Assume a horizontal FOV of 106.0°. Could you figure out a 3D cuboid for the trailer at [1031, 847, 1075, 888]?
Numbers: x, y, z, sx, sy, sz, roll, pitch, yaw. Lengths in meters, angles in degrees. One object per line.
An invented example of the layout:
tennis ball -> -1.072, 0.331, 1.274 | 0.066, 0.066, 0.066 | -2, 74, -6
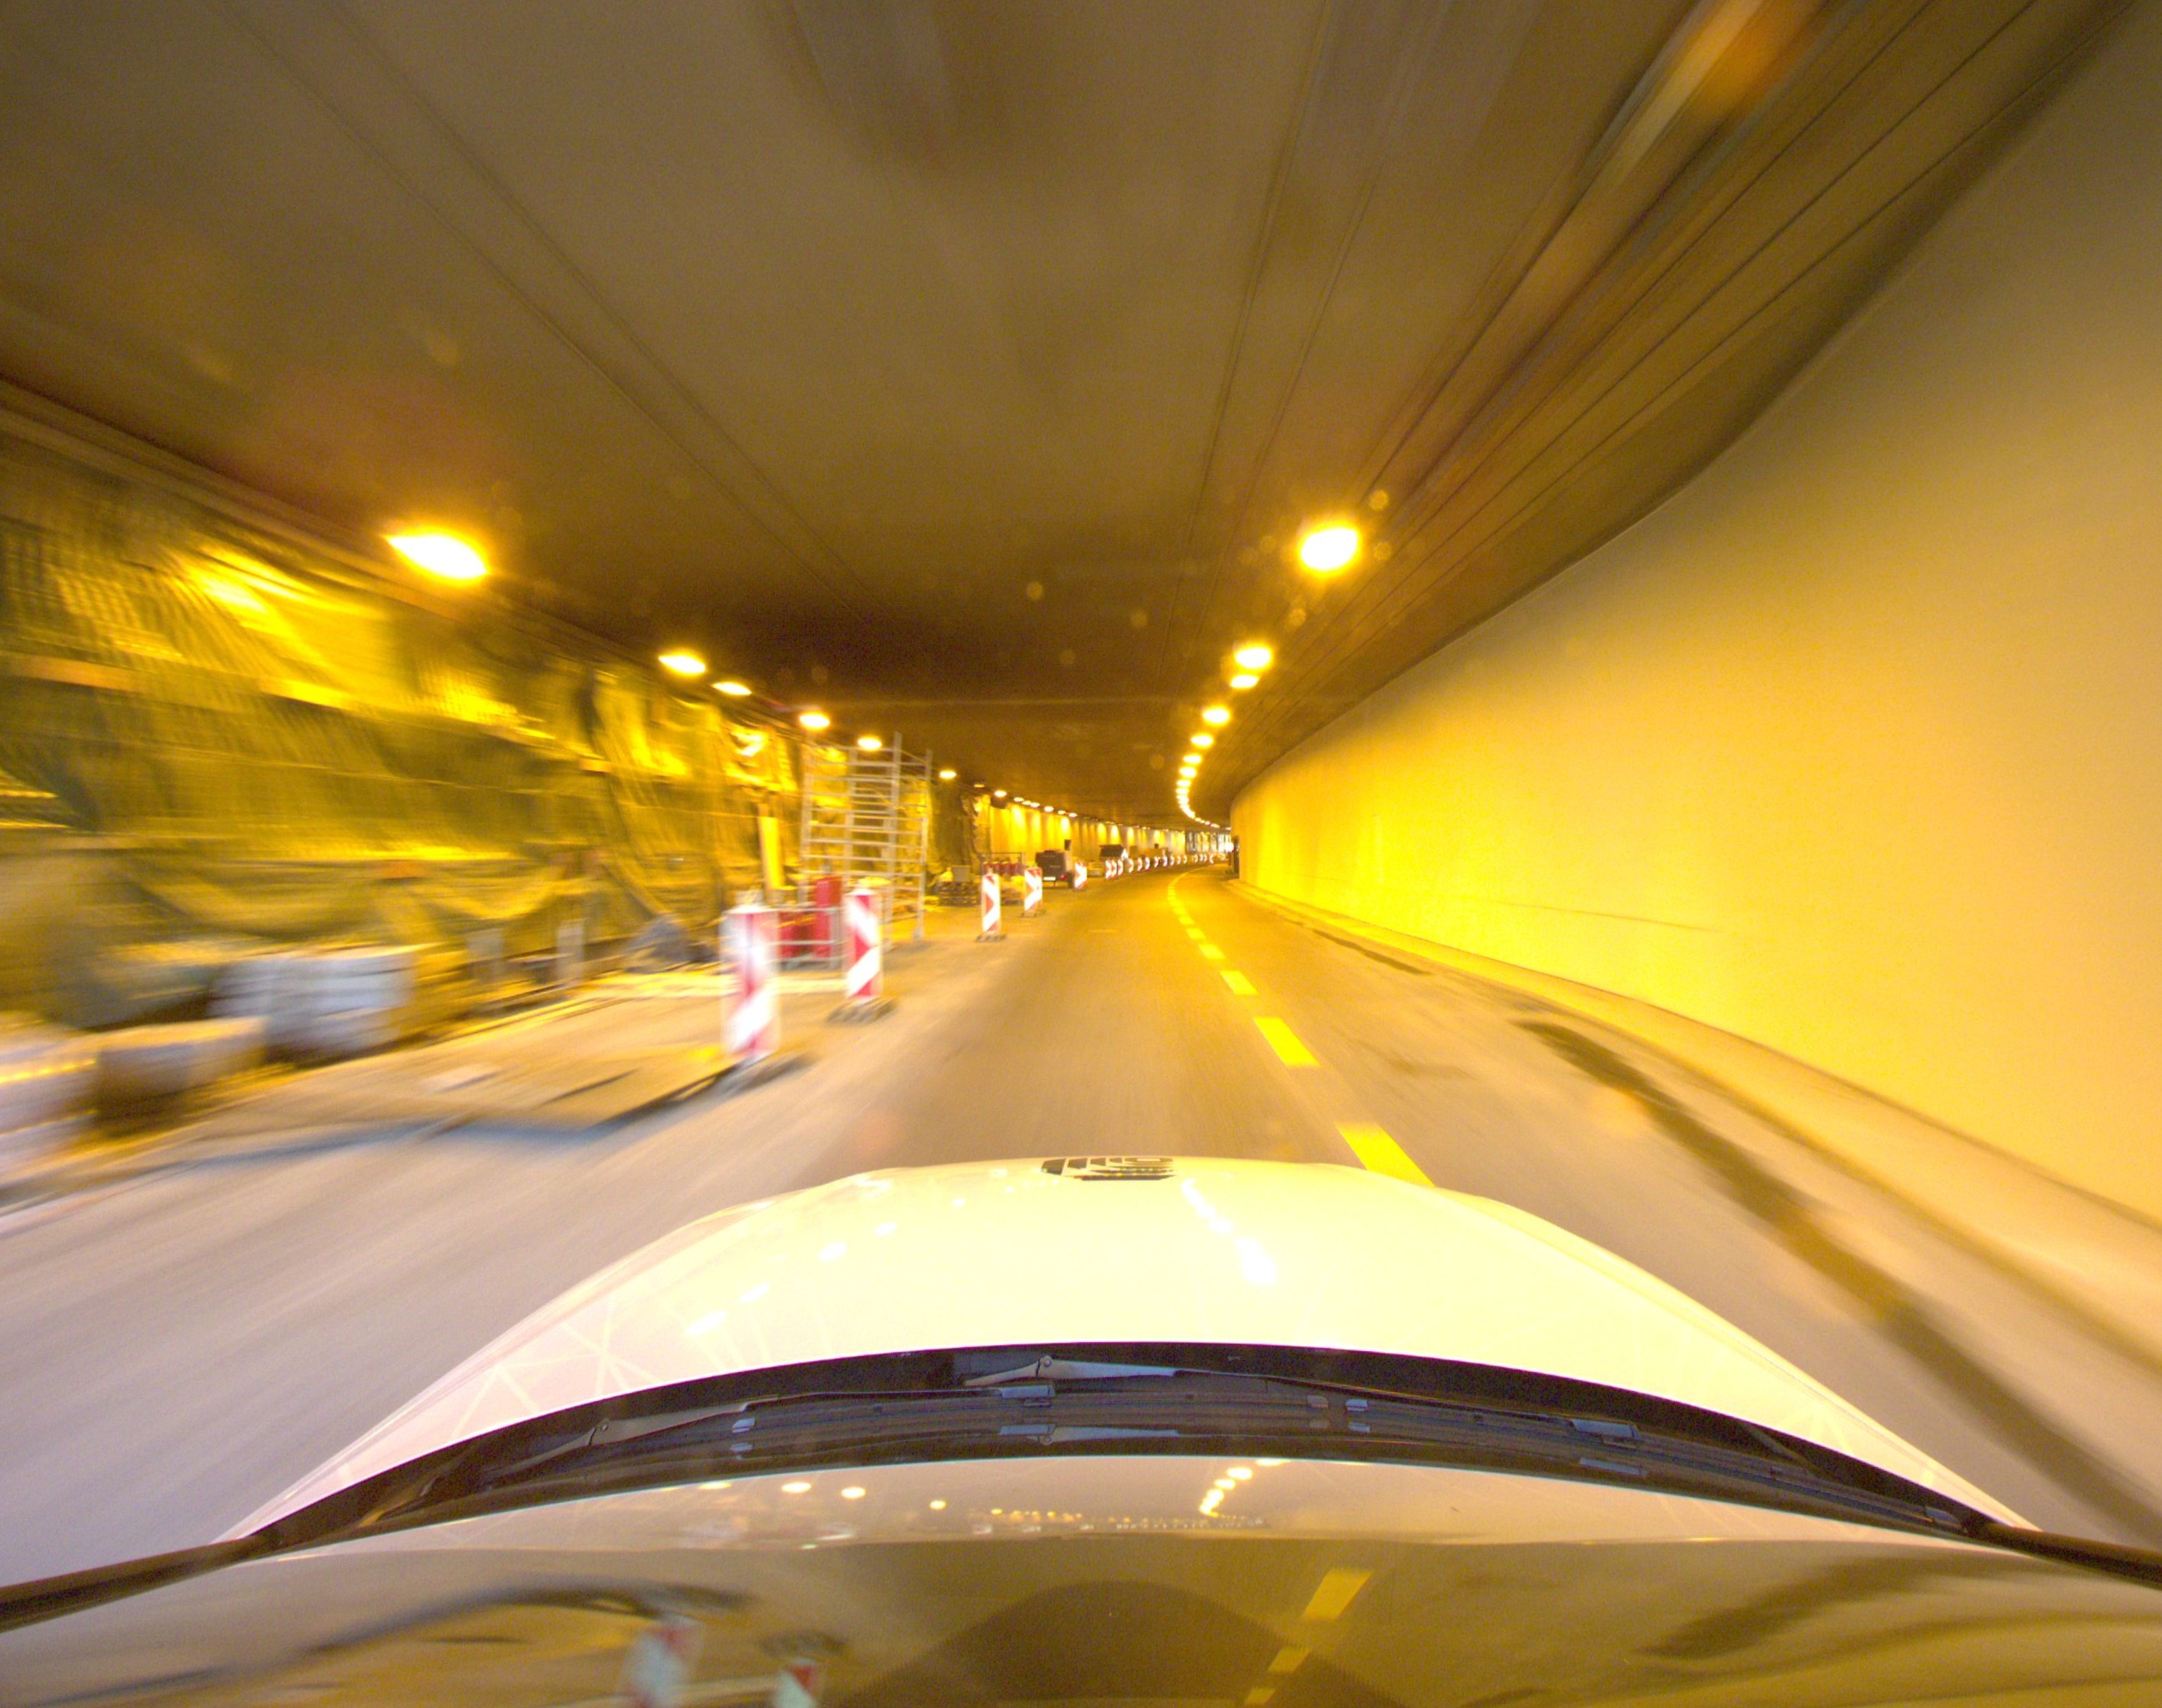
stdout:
trailer -> -1.240, 0.588, 37.146 | 1.573, 1.798, 2.944 | -1, 0, 5
